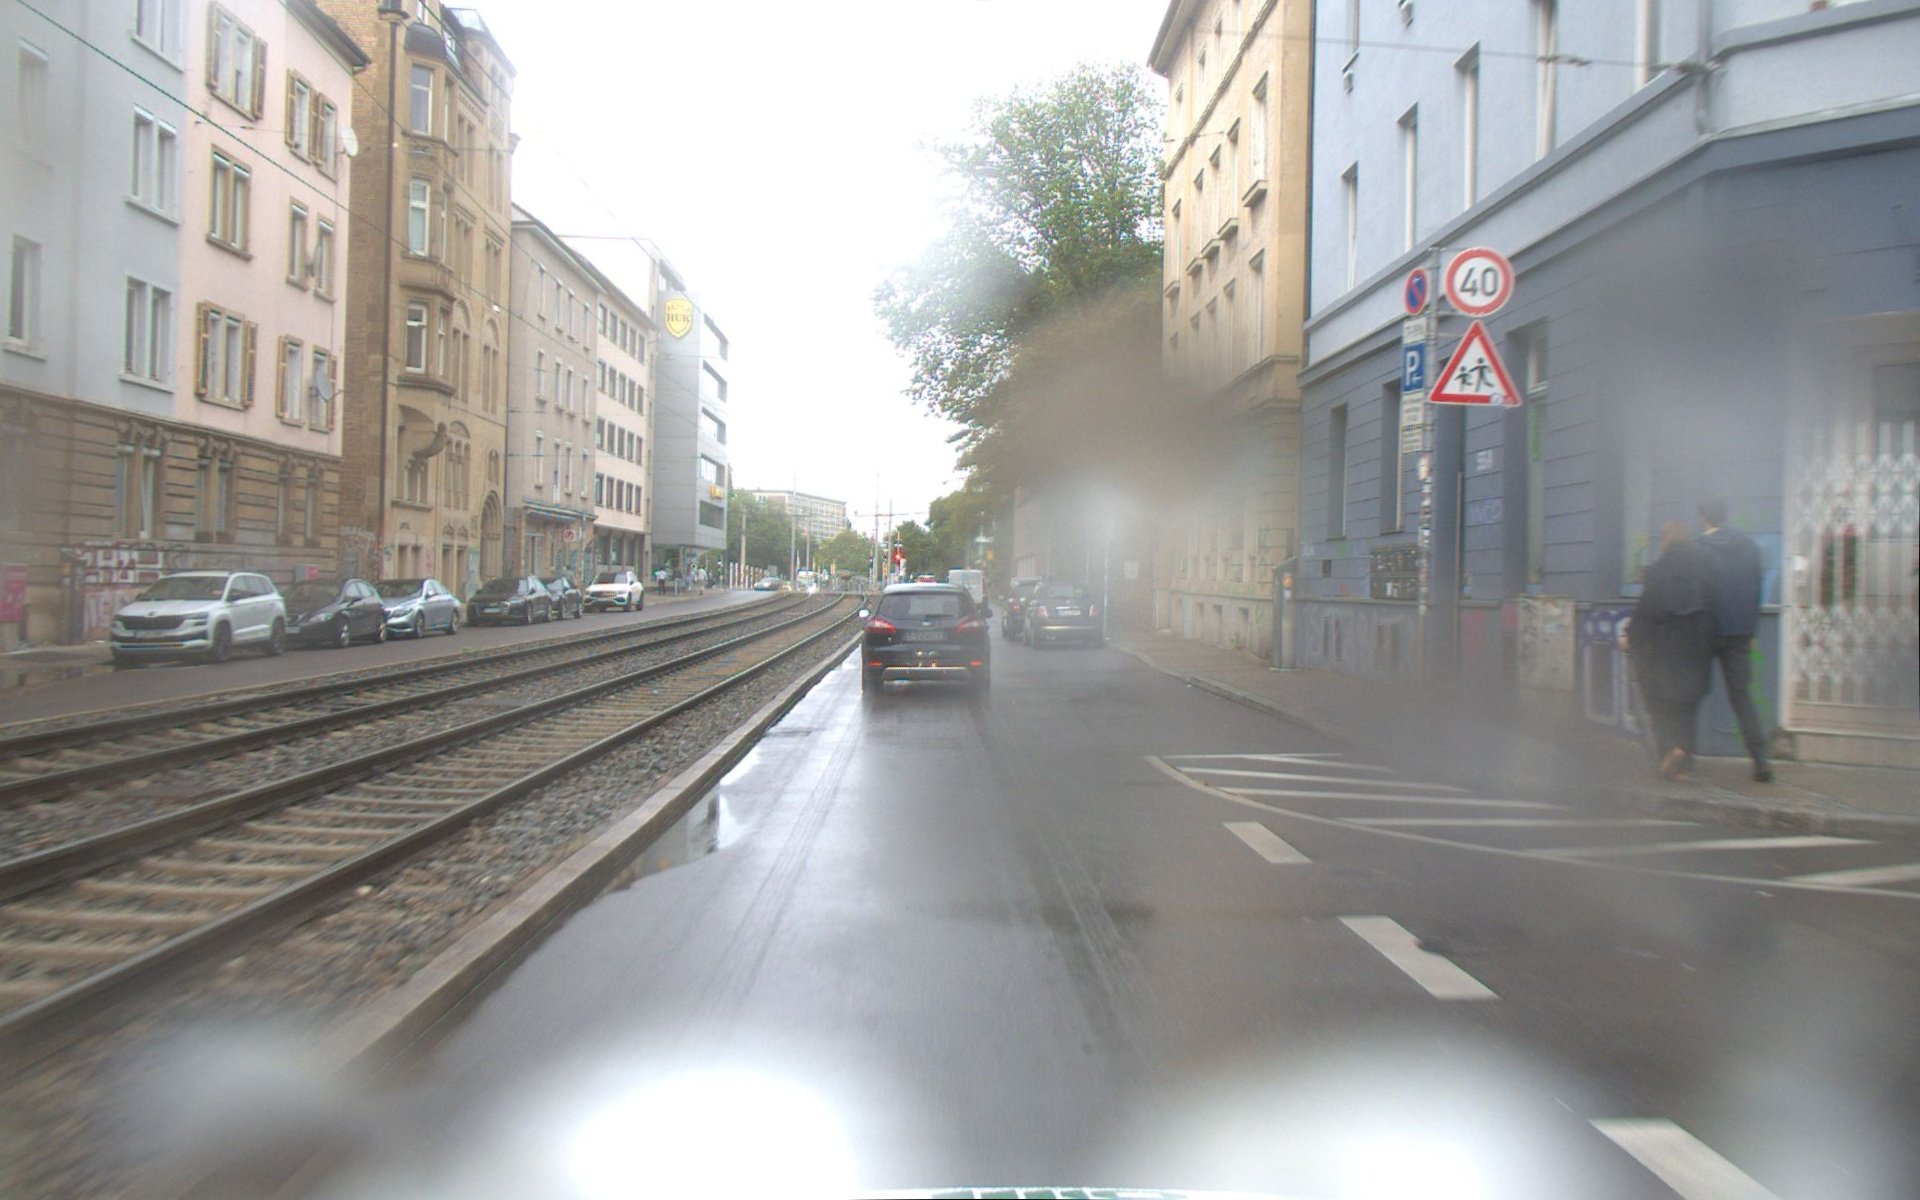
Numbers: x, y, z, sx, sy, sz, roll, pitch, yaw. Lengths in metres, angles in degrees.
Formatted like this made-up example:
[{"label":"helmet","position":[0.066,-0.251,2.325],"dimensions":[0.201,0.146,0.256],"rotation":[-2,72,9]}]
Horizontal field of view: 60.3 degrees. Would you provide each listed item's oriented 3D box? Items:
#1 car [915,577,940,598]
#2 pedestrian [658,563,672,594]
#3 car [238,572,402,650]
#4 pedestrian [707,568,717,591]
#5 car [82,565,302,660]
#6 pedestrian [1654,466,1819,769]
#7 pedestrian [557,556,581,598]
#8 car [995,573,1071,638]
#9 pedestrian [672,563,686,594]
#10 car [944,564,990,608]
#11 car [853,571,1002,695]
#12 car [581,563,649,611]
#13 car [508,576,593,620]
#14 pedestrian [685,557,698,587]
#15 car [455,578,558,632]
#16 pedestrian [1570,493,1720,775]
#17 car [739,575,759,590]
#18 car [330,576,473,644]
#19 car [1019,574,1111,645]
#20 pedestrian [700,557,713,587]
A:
[{"label":"car","position":[-2.678,-1.010,136.875],"dimensions":[1.953,1.622,4.270],"rotation":[1,-1,-1]},{"label":"pedestrian","position":[-18.262,-1.298,102.323],"dimensions":[0.729,1.886,0.839],"rotation":[0,-1,-2]},{"label":"car","position":[-13.782,0.224,35.883],"dimensions":[1.953,1.545,4.208],"rotation":[2,0,-1]},{"label":"pedestrian","position":[-21.432,-1.761,142.904],"dimensions":[0.729,1.886,0.839],"rotation":[0,-1,-2]},{"label":"car","position":[-13.800,0.209,30.046],"dimensions":[1.953,1.545,4.434],"rotation":[2,0,-1]},{"label":"pedestrian","position":[5.459,0.118,11.673],"dimensions":[0.721,2.049,0.821],"rotation":[1,0,-2]},{"label":"pedestrian","position":[-16.682,-0.973,70.527],"dimensions":[0.785,1.781,0.984],"rotation":[1,0,-2]},{"label":"car","position":[1.837,0.105,42.516],"dimensions":[1.609,1.542,4.038],"rotation":[1,1,-2]},{"label":"pedestrian","position":[-17.415,-1.330,102.443],"dimensions":[0.729,1.886,0.839],"rotation":[0,-1,-2]},{"label":"car","position":[0.287,-0.598,73.223],"dimensions":[1.953,1.848,4.270],"rotation":[1,-1,-1]},{"label":"car","position":[-0.446,0.456,23.956],"dimensions":[1.953,1.622,4.270],"rotation":[1,-1,-1]},{"label":"car","position":[-14.364,-0.522,69.177],"dimensions":[1.954,1.871,5.068],"rotation":[2,0,-3]},{"label":"car","position":[-14.260,-0.076,57.844],"dimensions":[1.953,1.400,4.237],"rotation":[1,0,-1]},{"label":"pedestrian","position":[-17.646,-1.831,108.652],"dimensions":[0.729,1.886,0.839],"rotation":[0,-1,-2]},{"label":"car","position":[-13.996,0.143,51.303],"dimensions":[1.953,1.545,4.675],"rotation":[2,0,-1]},{"label":"pedestrian","position":[4.755,0.224,11.519],"dimensions":[0.648,1.884,0.821],"rotation":[1,0,-2]},{"label":"car","position":[-21.882,-1.833,171.296],"dimensions":[1.957,1.467,3.992],"rotation":[1,1,-9]},{"label":"car","position":[-13.877,0.237,41.413],"dimensions":[1.953,1.545,4.991],"rotation":[2,0,-1]},{"label":"car","position":[2.353,0.185,37.979],"dimensions":[1.703,1.515,3.999],"rotation":[1,1,-2]},{"label":"pedestrian","position":[-16.711,-1.840,108.932],"dimensions":[0.729,1.886,0.839],"rotation":[0,-1,-2]}]
